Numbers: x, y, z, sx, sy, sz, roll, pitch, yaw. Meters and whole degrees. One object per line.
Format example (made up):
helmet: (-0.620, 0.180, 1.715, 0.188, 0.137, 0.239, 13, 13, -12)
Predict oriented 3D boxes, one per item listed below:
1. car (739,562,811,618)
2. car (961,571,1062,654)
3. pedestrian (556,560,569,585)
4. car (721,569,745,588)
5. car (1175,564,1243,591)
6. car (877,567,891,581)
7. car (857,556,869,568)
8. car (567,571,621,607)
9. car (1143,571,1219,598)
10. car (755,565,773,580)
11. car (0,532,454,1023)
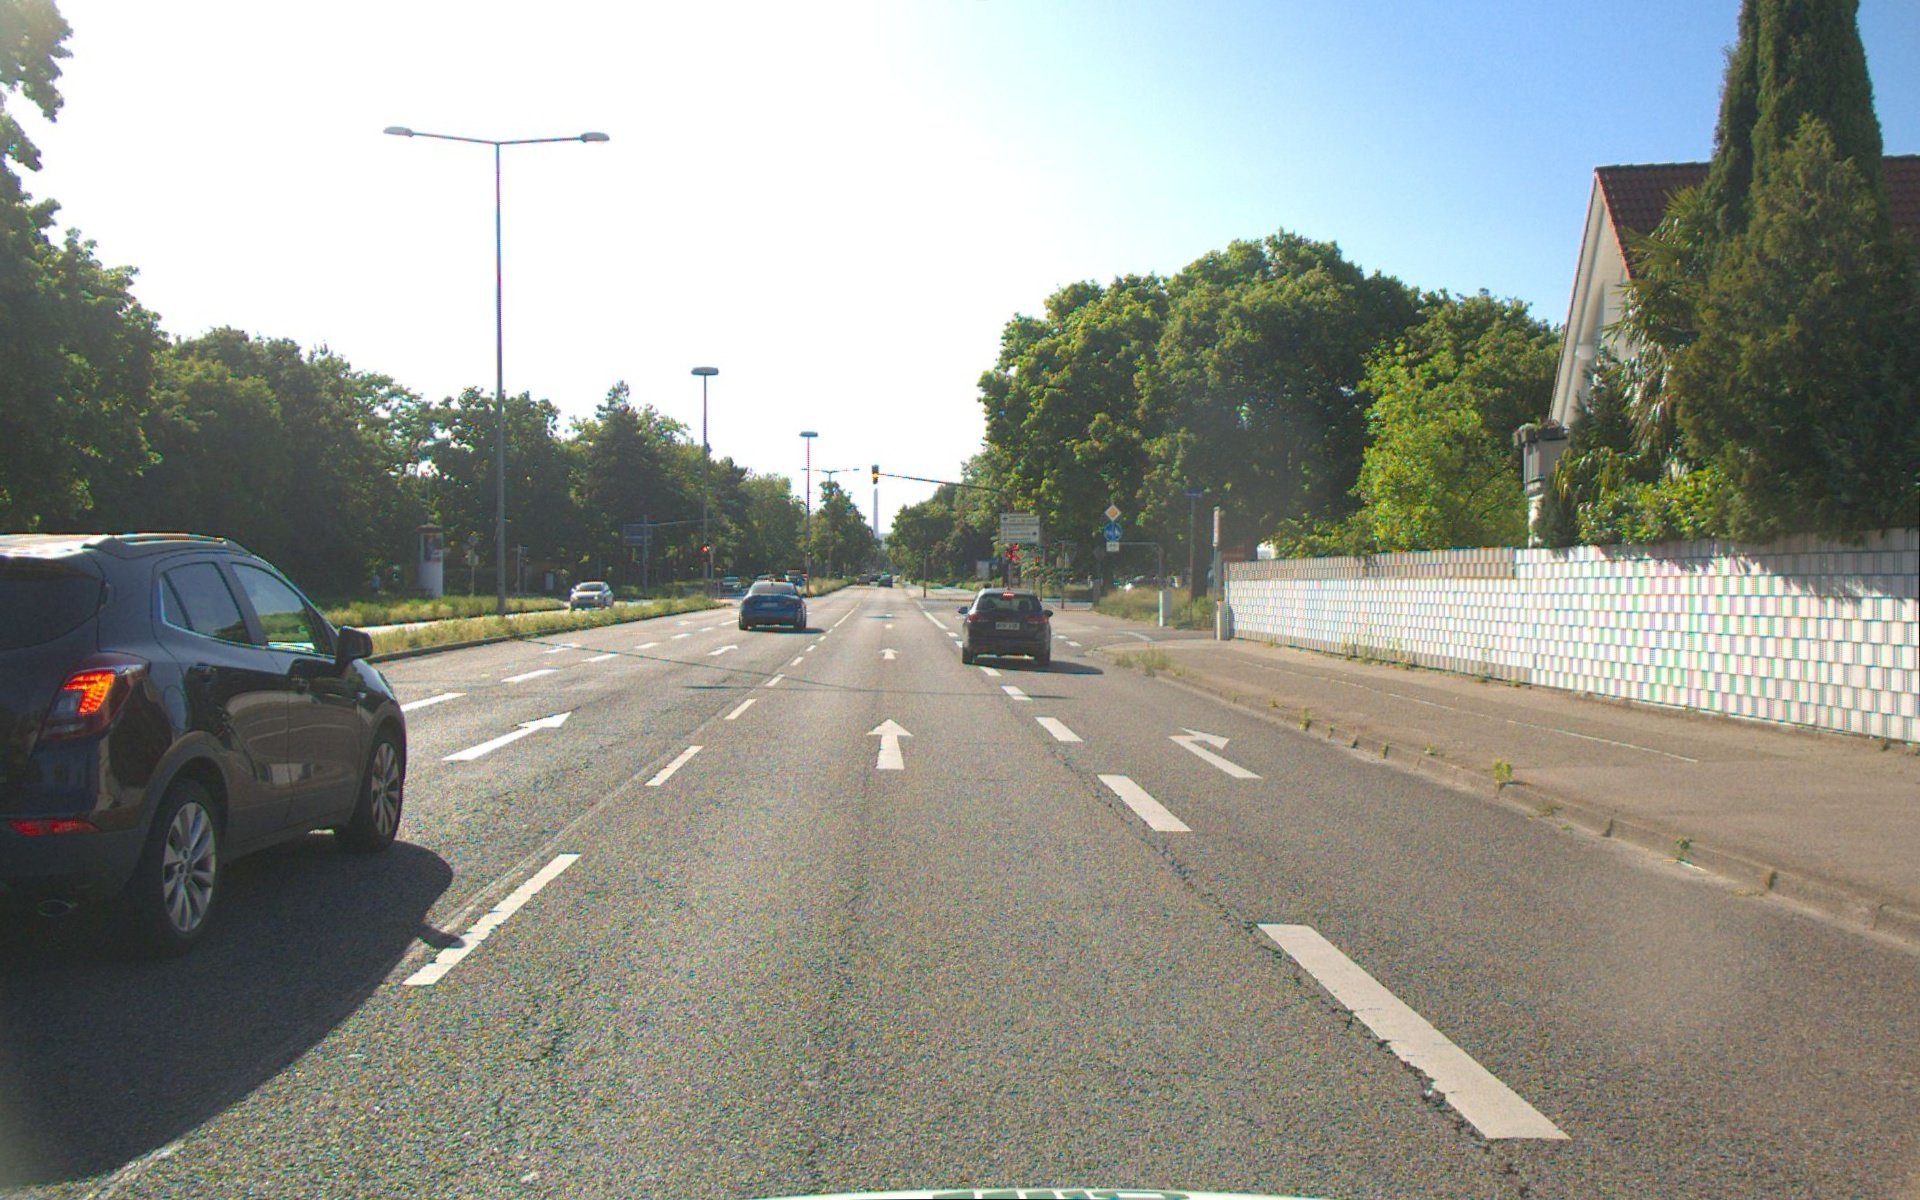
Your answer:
car: (-5.534, -0.299, 49.825, 1.851, 1.579, 3.998, 1, 0, -3)
car: (0.976, 0.223, 33.271, 1.720, 1.535, 3.807, 2, 0, -3)
pedestrian: (-29.718, -2.042, 123.665, 0.828, 1.867, 0.550, 1, 1, 1)
car: (-22.355, -2.109, 163.120, 1.827, 1.713, 4.258, 3, 0, -2)
car: (14.641, -1.345, 97.447, 3.748, 1.485, 1.738, 1, 1, 2)
car: (-9.578, -3.249, 208.933, 1.698, 1.612, 3.838, 3, 0, -3)
car: (-13.977, -5.501, 238.229, 1.788, 1.643, 3.838, 0, 1, -3)
car: (-19.151, -0.547, 86.728, 1.874, 1.733, 4.406, 3, 0, -2)
car: (13.622, -0.954, 101.845, 4.520, 1.601, 2.002, 1, 0, 9)
car: (-23.845, -3.384, 201.330, 1.827, 1.713, 3.998, 2, 0, -2)
car: (-3.825, 0.568, 7.777, 1.662, 1.660, 4.416, 1, 1, -2)
